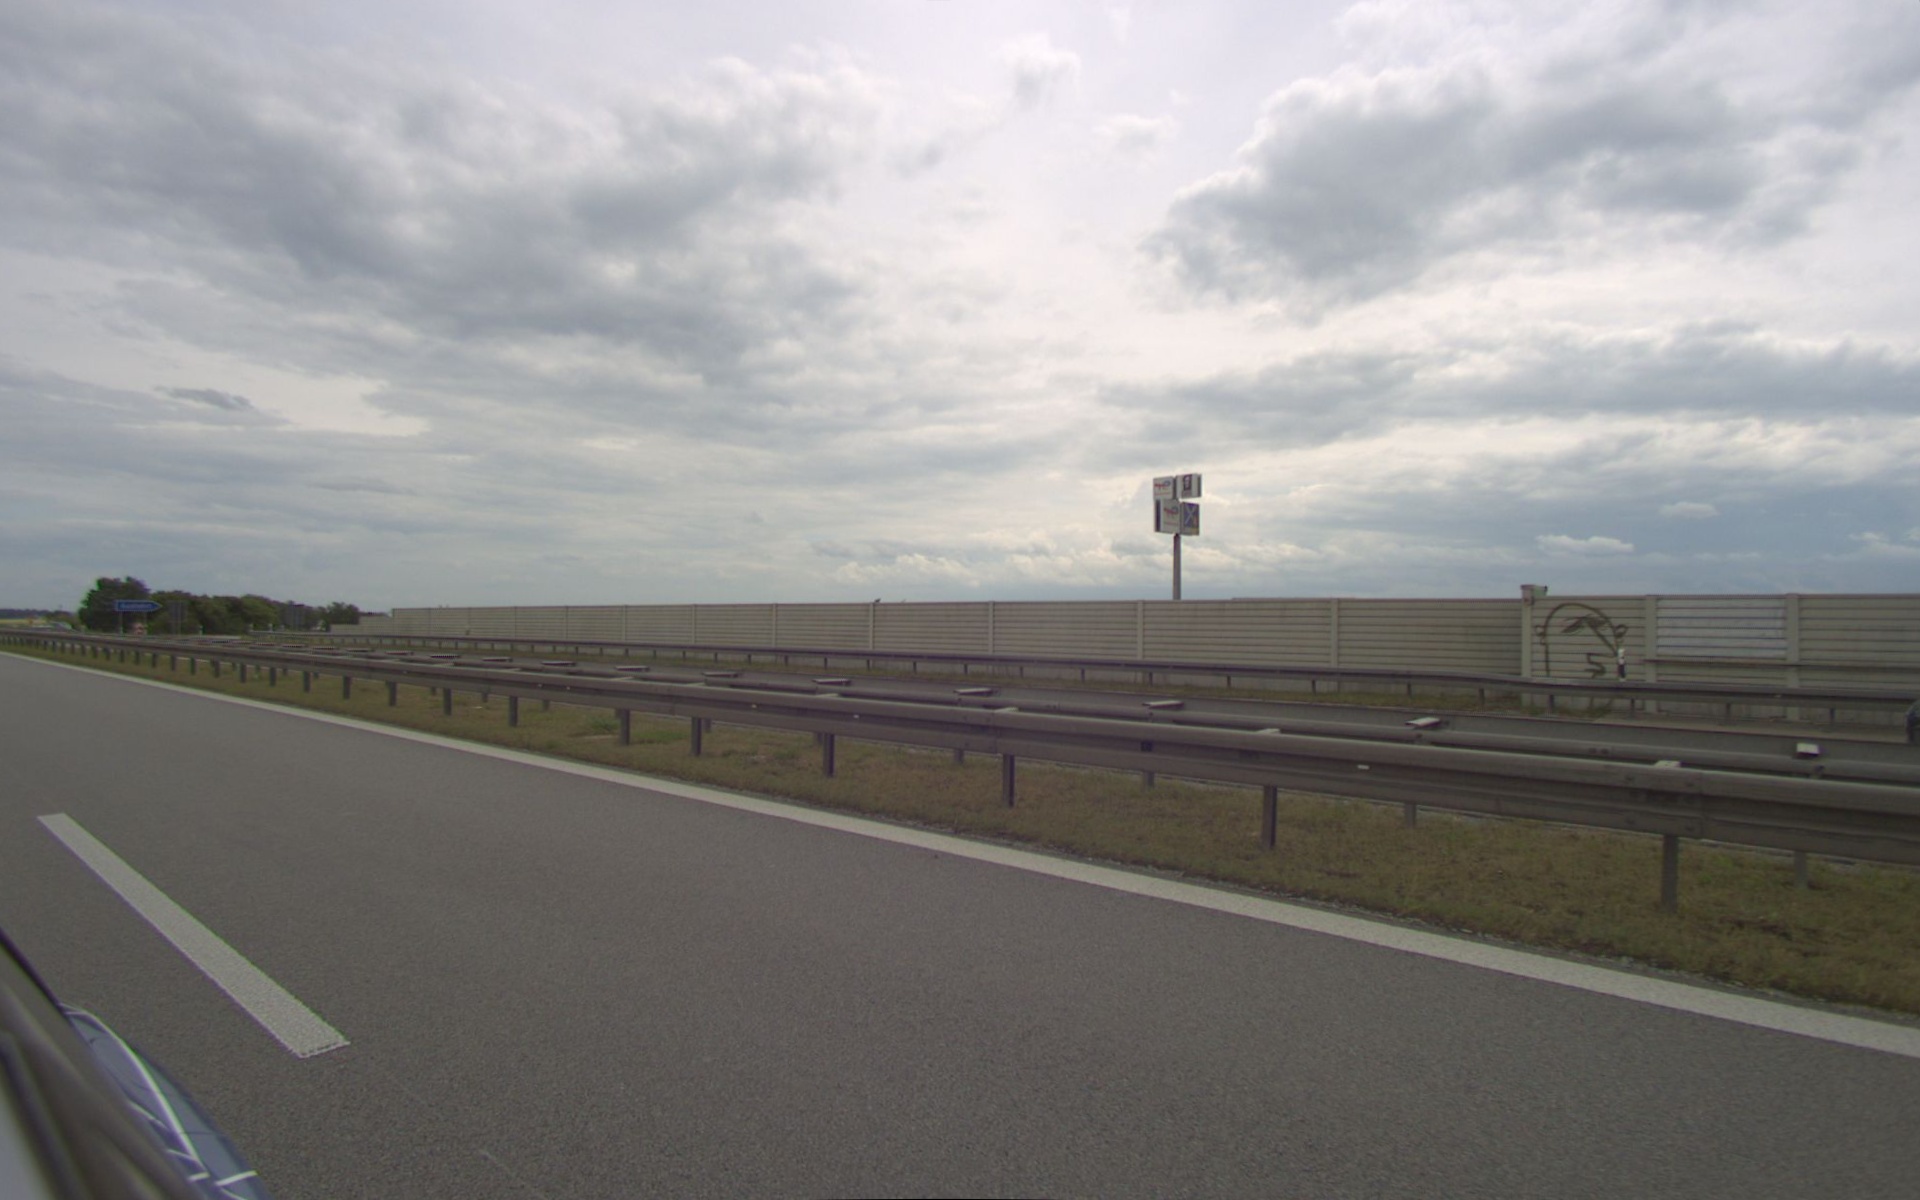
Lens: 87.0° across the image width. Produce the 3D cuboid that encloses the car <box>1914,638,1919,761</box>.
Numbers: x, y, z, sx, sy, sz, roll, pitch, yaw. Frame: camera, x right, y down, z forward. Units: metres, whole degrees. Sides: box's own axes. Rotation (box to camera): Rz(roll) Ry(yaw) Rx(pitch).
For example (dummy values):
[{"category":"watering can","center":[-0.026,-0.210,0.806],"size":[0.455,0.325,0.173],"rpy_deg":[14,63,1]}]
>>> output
[{"category":"car","center":[13.449,1.198,10.873],"size":[4.564,1.506,1.686],"rpy_deg":[-1,-2,41]}]
